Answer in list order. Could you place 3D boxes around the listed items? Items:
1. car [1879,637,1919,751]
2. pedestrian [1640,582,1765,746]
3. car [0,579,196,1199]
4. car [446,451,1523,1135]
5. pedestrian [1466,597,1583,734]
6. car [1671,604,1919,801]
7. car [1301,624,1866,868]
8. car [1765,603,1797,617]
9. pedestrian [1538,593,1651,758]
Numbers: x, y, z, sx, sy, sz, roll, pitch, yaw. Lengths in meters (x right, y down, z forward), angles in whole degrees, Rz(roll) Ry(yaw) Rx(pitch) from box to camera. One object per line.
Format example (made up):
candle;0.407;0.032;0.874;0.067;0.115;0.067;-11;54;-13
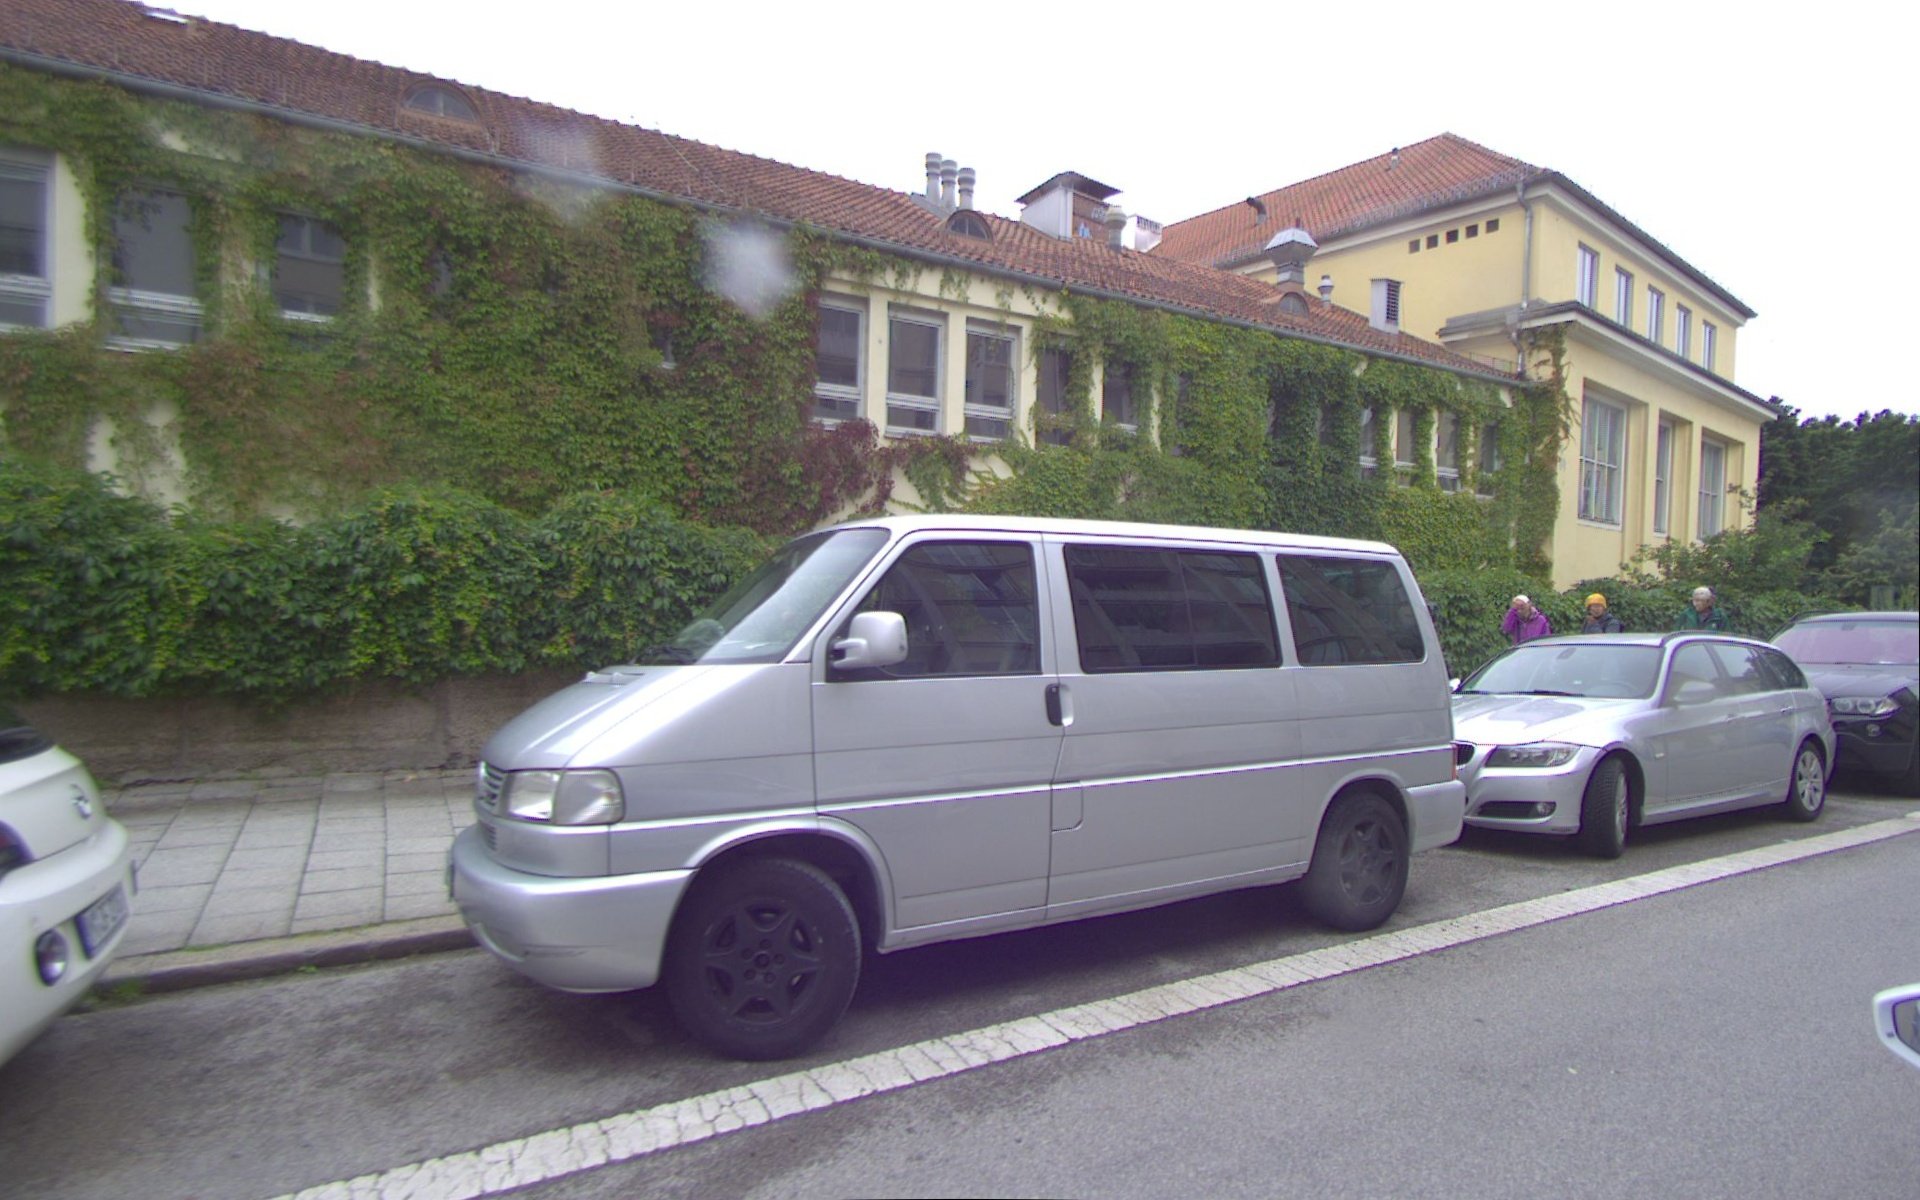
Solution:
car;13.653;1.145;12.935;3.958;1.383;1.697;1;-3;-33
pedestrian;8.496;0.696;11.510;0.862;1.778;0.839;1;1;-29
car;-3.965;0.675;2.156;3.519;1.428;1.658;1;-2;-32
car;0.323;0.583;4.752;4.824;1.822;1.884;1;-3;-31
pedestrian;6.595;0.737;11.749;0.861;1.514;0.839;1;1;-29
car;9.252;0.905;10.215;4.440;1.627;1.693;1;-2;-32
car;4.857;0.933;7.683;4.438;1.395;1.796;1;-4;-31
car;97.682;1.194;119.549;1.963;1.622;4.249;2;1;26
pedestrian;6.774;0.771;10.724;0.862;1.674;0.679;1;1;-31
